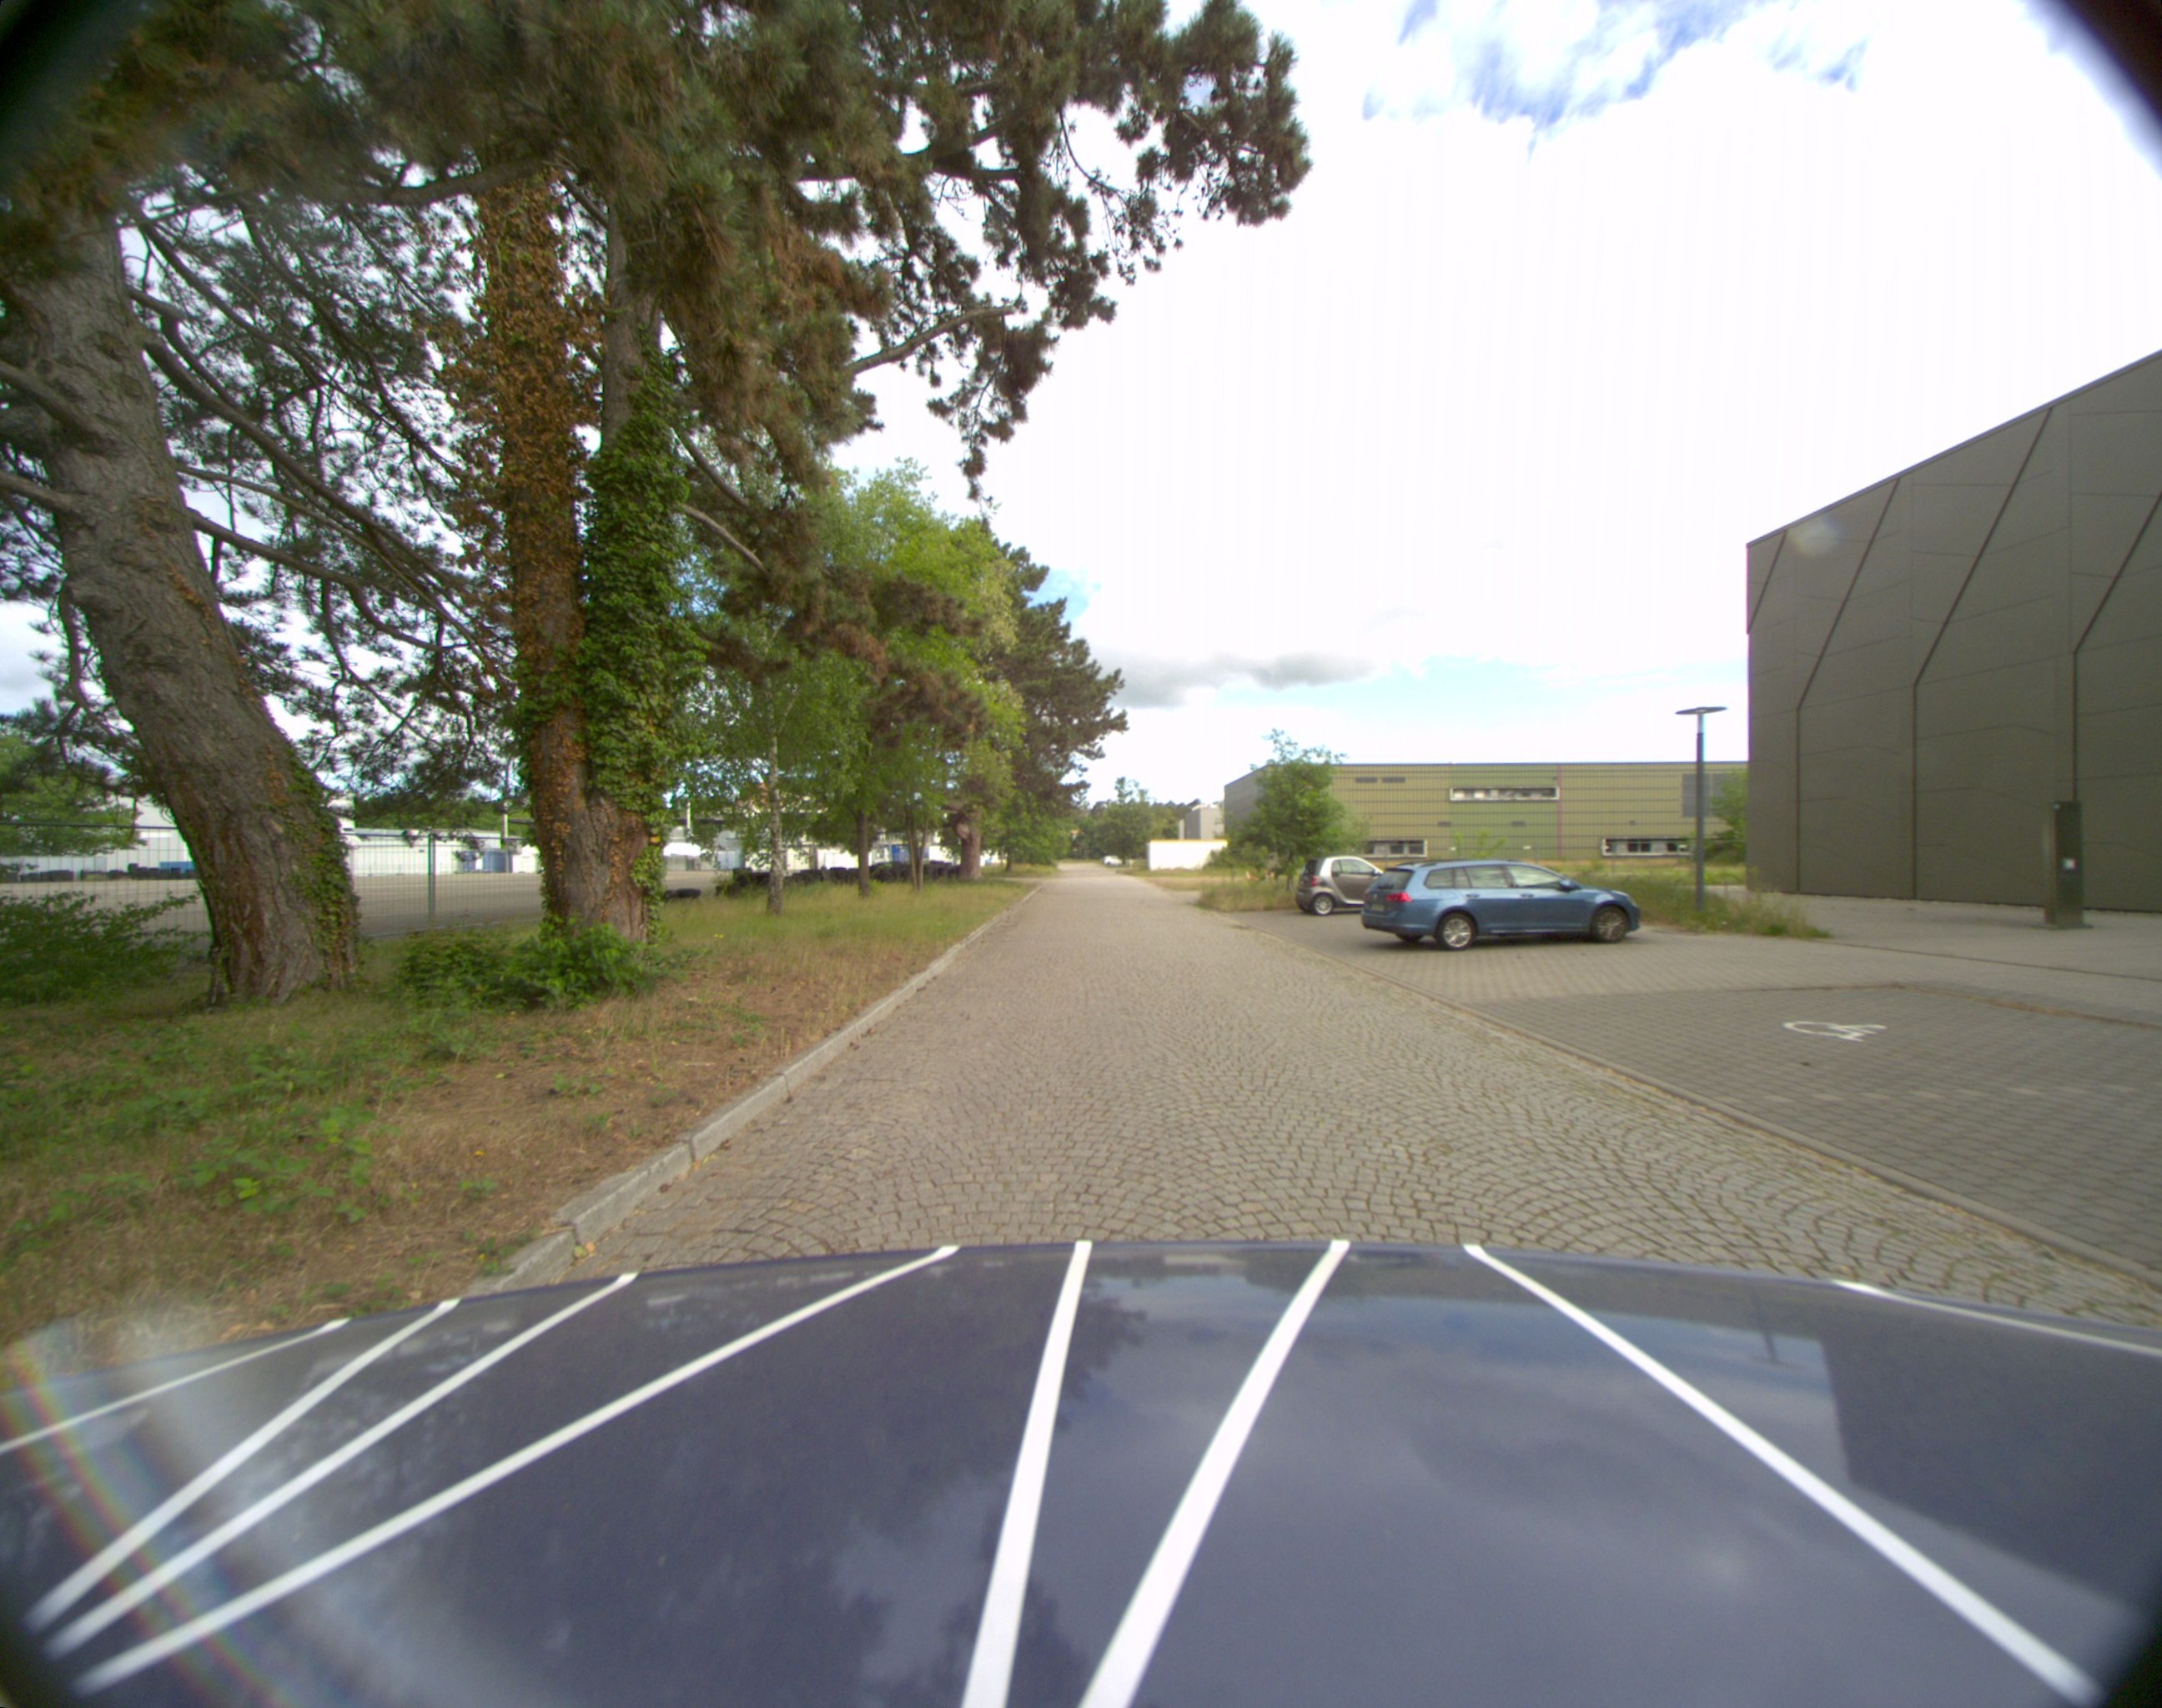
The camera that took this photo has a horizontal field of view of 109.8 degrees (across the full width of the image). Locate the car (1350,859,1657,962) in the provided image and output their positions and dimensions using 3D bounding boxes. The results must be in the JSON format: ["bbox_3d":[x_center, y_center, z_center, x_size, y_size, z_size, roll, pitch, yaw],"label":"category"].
[{"bbox_3d":[7.198,0.919,13.190,4.427,1.461,1.633,-3,1,-2],"label":"car"}]

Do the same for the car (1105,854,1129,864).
[{"bbox_3d":[6.326,0.873,132.990,4.062,1.767,1.792,-1,1,-1],"label":"car"}]

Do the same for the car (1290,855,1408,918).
[{"bbox_3d":[7.198,0.847,20.559,2.584,1.521,1.500,-3,1,-2],"label":"car"}]
